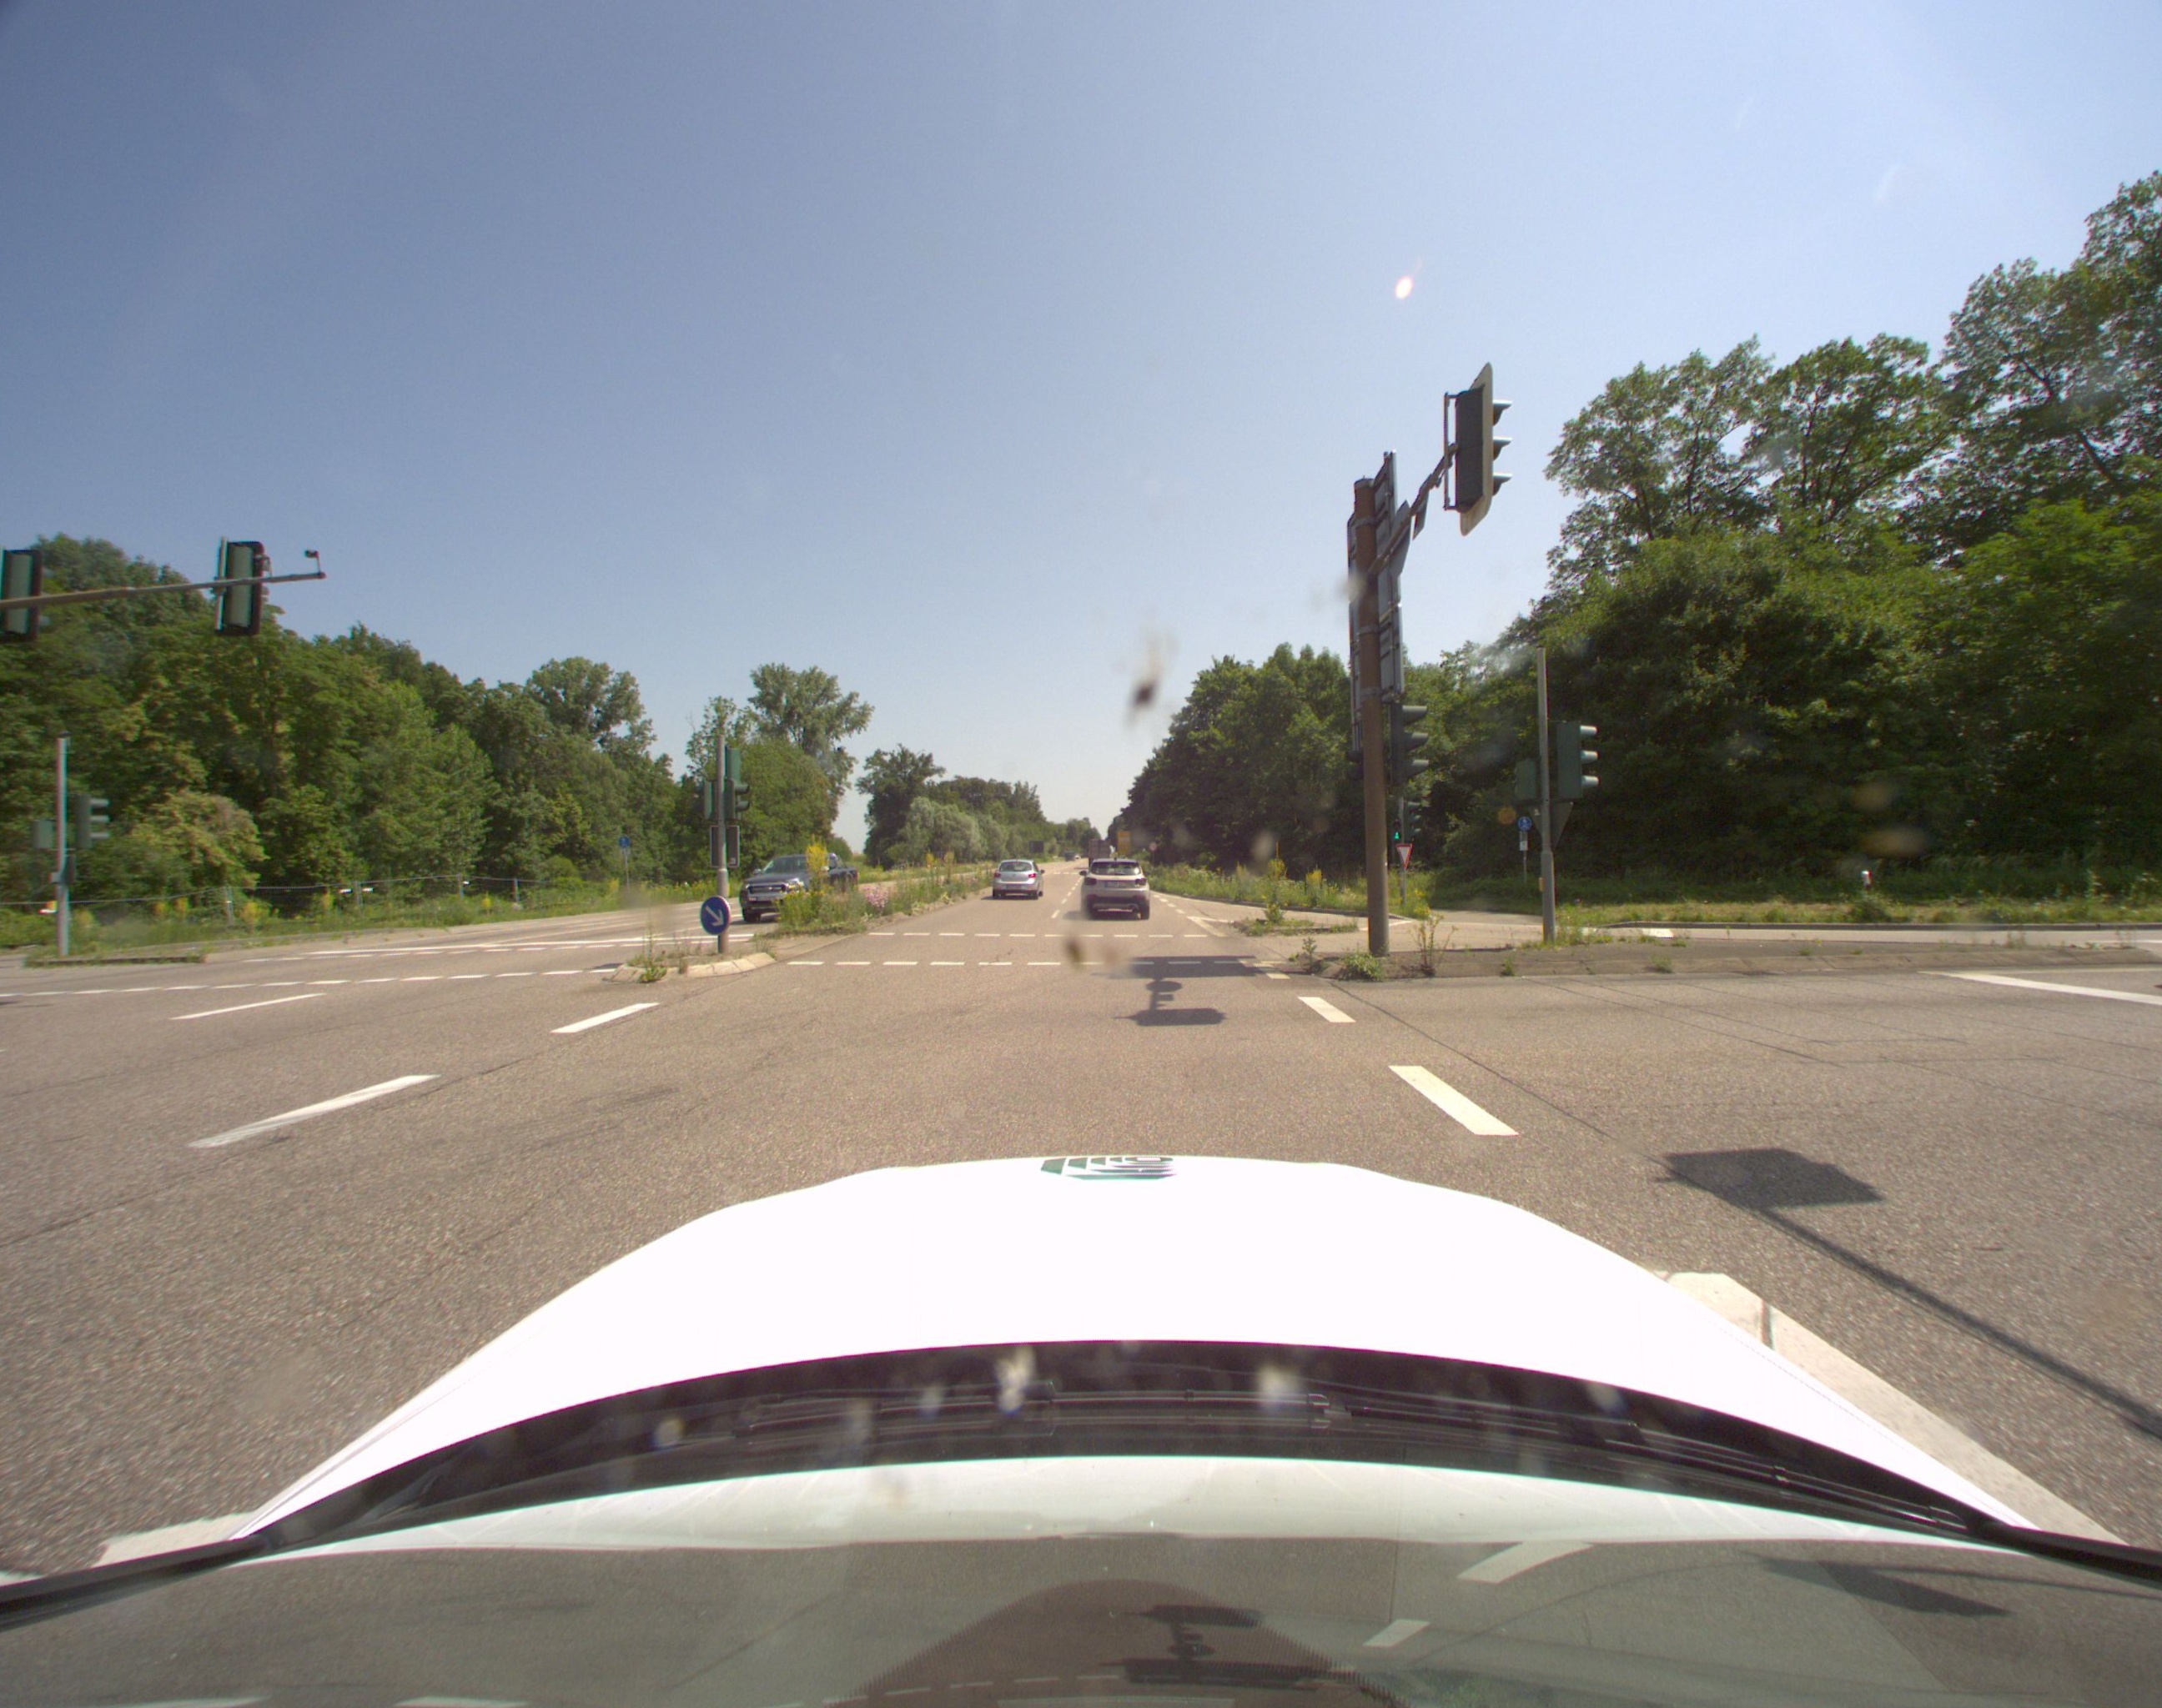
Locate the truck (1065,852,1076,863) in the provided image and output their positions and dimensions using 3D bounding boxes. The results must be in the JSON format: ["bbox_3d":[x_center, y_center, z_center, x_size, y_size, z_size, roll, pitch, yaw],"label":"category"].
[{"bbox_3d":[-2.724,0.879,209.899,2.445,2.656,6.494,-4,0,2],"label":"truck"}]

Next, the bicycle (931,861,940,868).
[{"bbox_3d":[-20.656,1.457,115.422,0.600,1.006,1.561,-3,-1,13],"label":"bicycle"}]

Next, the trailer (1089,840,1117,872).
[{"bbox_3d":[2.957,0.264,106.415,3.368,3.989,10.812,0,-1,3],"label":"trailer"}]

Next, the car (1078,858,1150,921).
[{"bbox_3d":[0.907,0.887,22.114,1.760,1.535,4.003,-1,0,3],"label":"car"}]

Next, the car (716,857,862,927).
[{"bbox_3d":[-8.151,0.977,23.402,1.985,1.678,5.369,-3,0,3],"label":"car"}]

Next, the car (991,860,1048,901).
[{"bbox_3d":[-2.246,0.951,30.579,1.659,1.430,3.830,0,0,3],"label":"car"}]

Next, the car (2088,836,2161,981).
[{"bbox_3d":[13.562,0.490,7.903,4.912,1.498,2.021,-1,-1,2],"label":"car"}]

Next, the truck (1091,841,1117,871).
[{"bbox_3d":[3.191,0.345,111.315,3.319,3.989,6.538,0,-1,3],"label":"truck"}]
